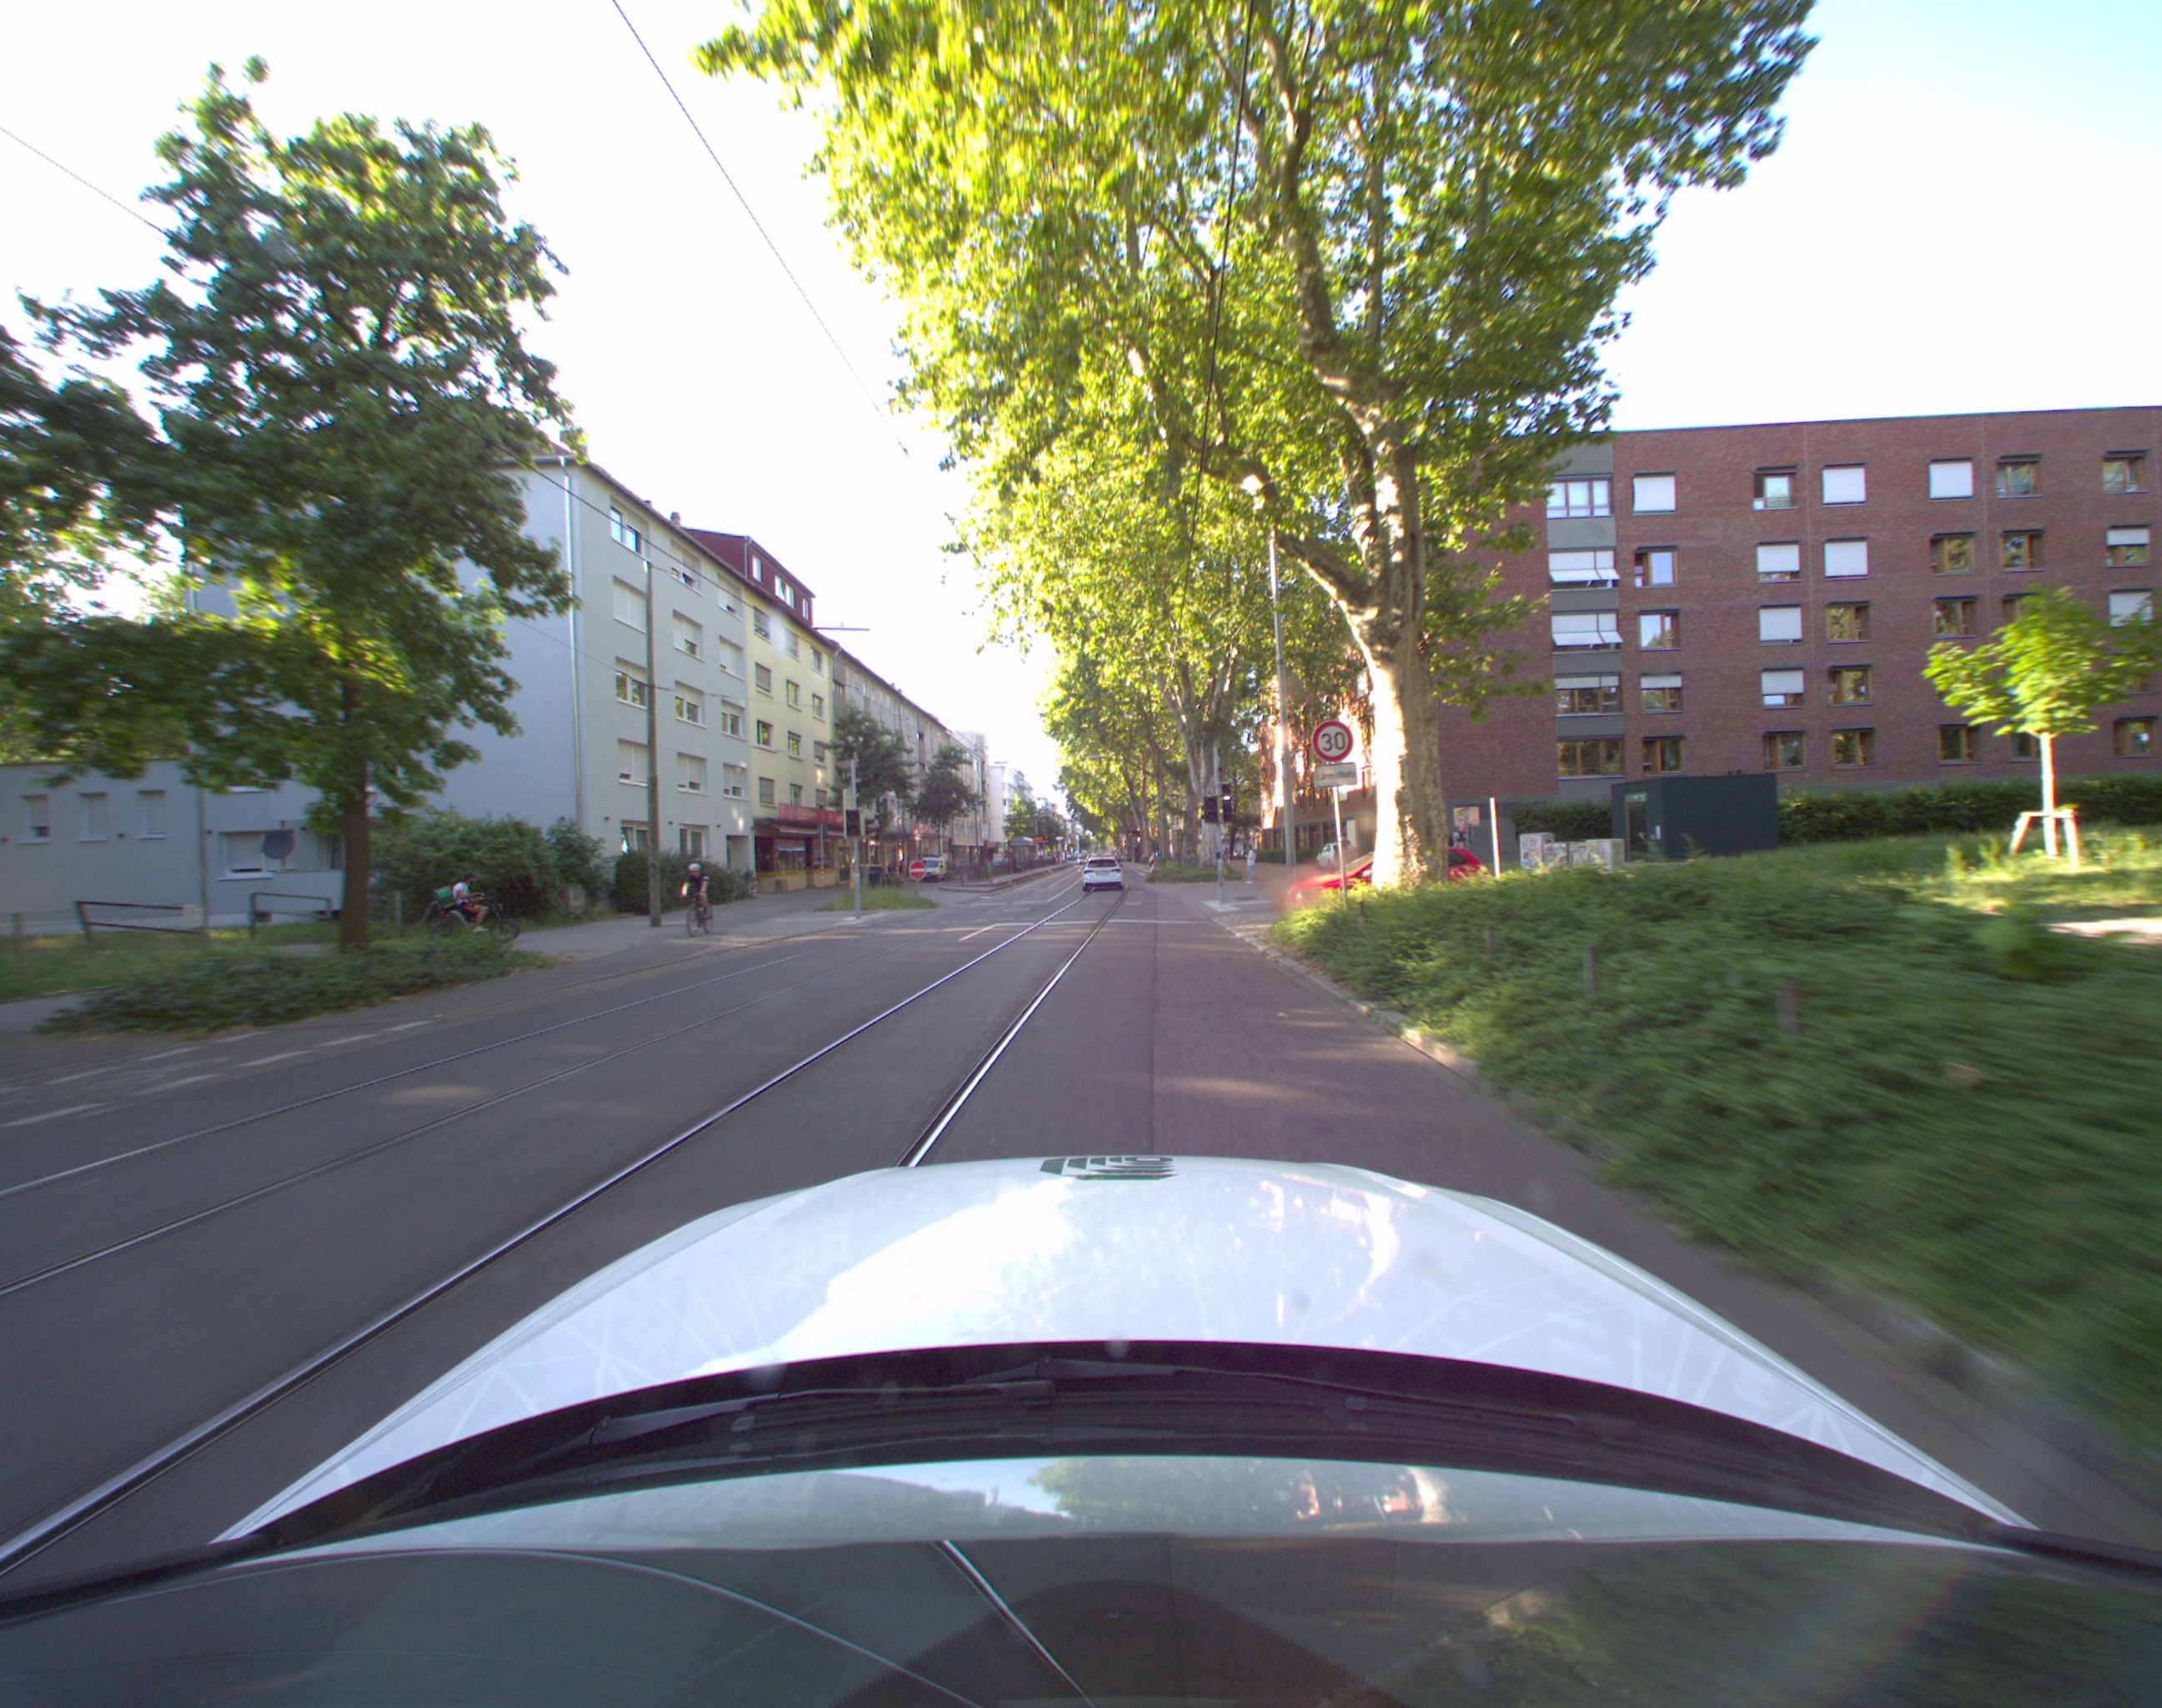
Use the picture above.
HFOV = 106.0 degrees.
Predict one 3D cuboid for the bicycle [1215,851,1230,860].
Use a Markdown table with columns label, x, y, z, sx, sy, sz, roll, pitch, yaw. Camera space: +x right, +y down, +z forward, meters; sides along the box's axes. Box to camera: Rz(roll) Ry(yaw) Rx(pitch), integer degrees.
| label | x | y | z | sx | sy | sz | roll | pitch | yaw |
| --- | --- | --- | --- | --- | --- | --- | --- | --- | --- |
| bicycle | 16.788 | 0.160 | 96.638 | 1.552 | 1.037 | 0.507 | -3 | 0 | 23 |

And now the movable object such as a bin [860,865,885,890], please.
| label | x | y | z | sx | sy | sz | roll | pitch | yaw |
| --- | --- | --- | --- | --- | --- | --- | --- | --- | --- |
| movable object such as a bin | -11.457 | 1.271 | 44.837 | 1.167 | 1.348 | 0.782 | 1 | 0 | -3 |

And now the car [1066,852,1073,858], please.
| label | x | y | z | sx | sy | sz | roll | pitch | yaw |
| --- | --- | --- | --- | --- | --- | --- | --- | --- | --- |
| car | -3.252 | 0.208 | 233.069 | 1.782 | 1.513 | 4.002 | -3 | 0 | 2 |

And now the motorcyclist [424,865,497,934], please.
| label | x | y | z | sx | sy | sz | roll | pitch | yaw |
| --- | --- | --- | --- | --- | --- | --- | --- | --- | --- |
| motorcyclist | -13.834 | 1.005 | 18.190 | 1.102 | 1.449 | 0.594 | -2 | 0 | -14 |

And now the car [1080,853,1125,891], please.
| label | x | y | z | sx | sy | sz | roll | pitch | yaw |
| --- | --- | --- | --- | --- | --- | --- | --- | --- | --- |
| car | 0.953 | 0.745 | 35.698 | 1.782 | 1.513 | 4.002 | -3 | 0 | 2 |

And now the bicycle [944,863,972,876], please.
| label | x | y | z | sx | sy | sz | roll | pitch | yaw |
| --- | --- | --- | --- | --- | --- | --- | --- | --- | --- |
| bicycle | -10.464 | 1.323 | 69.394 | 2.244 | 1.074 | 0.637 | 1 | 0 | 2 |

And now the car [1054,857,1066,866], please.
| label | x | y | z | sx | sy | sz | roll | pitch | yaw |
| --- | --- | --- | --- | --- | --- | --- | --- | --- | --- |
| car | -3.516 | 1.251 | 136.964 | 1.671 | 1.548 | 4.001 | 0 | 0 | 2 |

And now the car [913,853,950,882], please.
| label | x | y | z | sx | sy | sz | roll | pitch | yaw |
| --- | --- | --- | --- | --- | --- | --- | --- | --- | --- |
| car | -10.644 | 0.951 | 58.174 | 1.682 | 1.940 | 4.001 | -3 | 0 | 2 |

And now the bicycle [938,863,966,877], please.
| label | x | y | z | sx | sy | sz | roll | pitch | yaw |
| --- | --- | --- | --- | --- | --- | --- | --- | --- | --- |
| bicycle | -10.700 | 1.308 | 67.605 | 2.244 | 1.074 | 0.637 | 1 | 0 | 2 |

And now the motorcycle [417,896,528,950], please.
| label | x | y | z | sx | sy | sz | roll | pitch | yaw |
| --- | --- | --- | --- | --- | --- | --- | --- | --- | --- |
| motorcycle | -13.592 | 1.530 | 18.245 | 1.874 | 1.032 | 0.594 | -2 | 0 | -14 |

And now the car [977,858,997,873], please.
| label | x | y | z | sx | sy | sz | roll | pitch | yaw |
| --- | --- | --- | --- | --- | --- | --- | --- | --- | --- |
| car | -10.262 | 1.243 | 88.693 | 1.587 | 1.548 | 4.002 | 0 | 0 | 2 |

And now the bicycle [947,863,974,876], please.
| label | x | y | z | sx | sy | sz | roll | pitch | yaw |
| --- | --- | --- | --- | --- | --- | --- | --- | --- | --- |
| bicycle | -10.559 | 1.333 | 71.144 | 2.244 | 1.074 | 0.637 | 1 | 0 | 2 |

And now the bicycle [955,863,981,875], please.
| label | x | y | z | sx | sy | sz | roll | pitch | yaw |
| --- | --- | --- | --- | --- | --- | --- | --- | --- | --- |
| bicycle | -10.346 | 1.348 | 74.813 | 2.244 | 1.074 | 0.637 | 1 | 0 | 2 |

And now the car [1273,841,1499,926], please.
| label | x | y | z | sx | sy | sz | roll | pitch | yaw |
| --- | --- | --- | --- | --- | --- | --- | --- | --- | --- |
| car | 5.932 | 0.558 | 16.184 | 3.867 | 1.423 | 1.650 | -3 | 0 | 4 |

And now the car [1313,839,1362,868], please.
| label | x | y | z | sx | sy | sz | roll | pitch | yaw |
| --- | --- | --- | --- | --- | --- | --- | --- | --- | --- |
| car | 14.313 | -0.005 | 45.607 | 1.595 | 1.495 | 3.417 | -3 | 0 | 0 |

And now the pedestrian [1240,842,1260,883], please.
| label | x | y | z | sx | sy | sz | roll | pitch | yaw |
| --- | --- | --- | --- | --- | --- | --- | --- | --- | --- |
| pedestrian | 7.105 | 0.337 | 34.254 | 0.650 | 1.669 | 0.738 | -3 | 0 | 1 |

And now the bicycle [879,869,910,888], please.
| label | x | y | z | sx | sy | sz | roll | pitch | yaw |
| --- | --- | --- | --- | --- | --- | --- | --- | --- | --- |
| bicycle | -10.737 | 1.419 | 46.894 | 1.528 | 1.075 | 0.885 | 1 | 0 | 1 |

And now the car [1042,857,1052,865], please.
| label | x | y | z | sx | sy | sz | roll | pitch | yaw |
| --- | --- | --- | --- | --- | --- | --- | --- | --- | --- |
| car | -6.500 | 1.372 | 156.835 | 1.671 | 1.548 | 4.001 | 0 | 0 | 2 |

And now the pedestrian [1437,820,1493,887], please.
| label | x | y | z | sx | sy | sz | roll | pitch | yaw |
| --- | --- | --- | --- | --- | --- | --- | --- | --- | --- |
| pedestrian | 11.377 | -0.007 | 24.175 | 0.980 | 1.863 | 1.015 | -6 | 0 | -4 |

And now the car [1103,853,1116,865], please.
| label | x | y | z | sx | sy | sz | roll | pitch | yaw |
| --- | --- | --- | --- | --- | --- | --- | --- | --- | --- |
| car | 4.108 | 0.719 | 118.590 | 1.782 | 1.513 | 4.002 | -3 | 0 | 2 |

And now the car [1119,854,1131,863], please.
| label | x | y | z | sx | sy | sz | roll | pitch | yaw |
| --- | --- | --- | --- | --- | --- | --- | --- | --- | --- |
| car | 7.490 | 0.754 | 138.917 | 1.986 | 1.453 | 4.002 | -3 | 0 | 2 |

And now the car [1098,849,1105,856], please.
| label | x | y | z | sx | sy | sz | roll | pitch | yaw |
| --- | --- | --- | --- | --- | --- | --- | --- | --- | --- |
| car | 6.013 | -0.414 | 234.993 | 1.859 | 1.892 | 4.002 | -3 | 0 | 2 |

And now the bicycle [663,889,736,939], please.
| label | x | y | z | sx | sy | sz | roll | pitch | yaw |
| --- | --- | --- | --- | --- | --- | --- | --- | --- | --- |
| bicycle | -8.947 | 1.389 | 19.180 | 0.639 | 0.987 | 2.101 | -3 | 0 | 1 |

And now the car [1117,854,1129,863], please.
| label | x | y | z | sx | sy | sz | roll | pitch | yaw |
| --- | --- | --- | --- | --- | --- | --- | --- | --- | --- |
| car | 7.469 | 0.772 | 144.007 | 1.986 | 1.453 | 4.002 | -3 | 0 | 2 |

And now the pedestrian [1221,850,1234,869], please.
| label | x | y | z | sx | sy | sz | roll | pitch | yaw |
| --- | --- | --- | --- | --- | --- | --- | --- | --- | --- |
| pedestrian | 13.261 | 0.517 | 73.550 | 0.968 | 1.623 | 0.888 | -3 | 0 | 1 |

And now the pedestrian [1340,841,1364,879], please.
| label | x | y | z | sx | sy | sz | roll | pitch | yaw |
| --- | --- | --- | --- | --- | --- | --- | --- | --- | --- |
| pedestrian | 12.283 | 0.266 | 36.883 | 0.733 | 1.669 | 0.835 | -3 | 0 | 1 |

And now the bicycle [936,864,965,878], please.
| label | x | y | z | sx | sy | sz | roll | pitch | yaw |
| --- | --- | --- | --- | --- | --- | --- | --- | --- | --- |
| bicycle | -10.516 | 1.334 | 65.696 | 2.244 | 1.074 | 0.637 | 1 | 0 | 2 |

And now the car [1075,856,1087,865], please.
| label | x | y | z | sx | sy | sz | roll | pitch | yaw |
| --- | --- | --- | --- | --- | --- | --- | --- | --- | --- |
| car | 0.017 | 1.097 | 133.311 | 1.687 | 1.419 | 4.002 | -3 | 0 | 2 |

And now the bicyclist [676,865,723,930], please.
| label | x | y | z | sx | sy | sz | roll | pitch | yaw |
| --- | --- | --- | --- | --- | --- | --- | --- | --- | --- |
| bicyclist | -8.976 | 0.999 | 19.186 | 0.639 | 1.455 | 0.837 | -3 | 0 | 1 |

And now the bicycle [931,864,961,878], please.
| label | x | y | z | sx | sy | sz | roll | pitch | yaw |
| --- | --- | --- | --- | --- | --- | --- | --- | --- | --- |
| bicycle | -10.615 | 1.320 | 64.049 | 2.244 | 1.074 | 0.637 | 1 | 0 | 2 |

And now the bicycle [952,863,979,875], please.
| label | x | y | z | sx | sy | sz | roll | pitch | yaw |
| --- | --- | --- | --- | --- | --- | --- | --- | --- | --- |
| bicycle | -10.354 | 1.345 | 72.971 | 2.244 | 1.074 | 0.637 | 1 | 0 | 2 |

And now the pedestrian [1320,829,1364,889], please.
| label | x | y | z | sx | sy | sz | roll | pitch | yaw |
| --- | --- | --- | --- | --- | --- | --- | --- | --- | --- |
| pedestrian | 8.179 | 0.162 | 25.570 | 0.992 | 1.811 | 0.863 | -3 | 0 | -4 |
